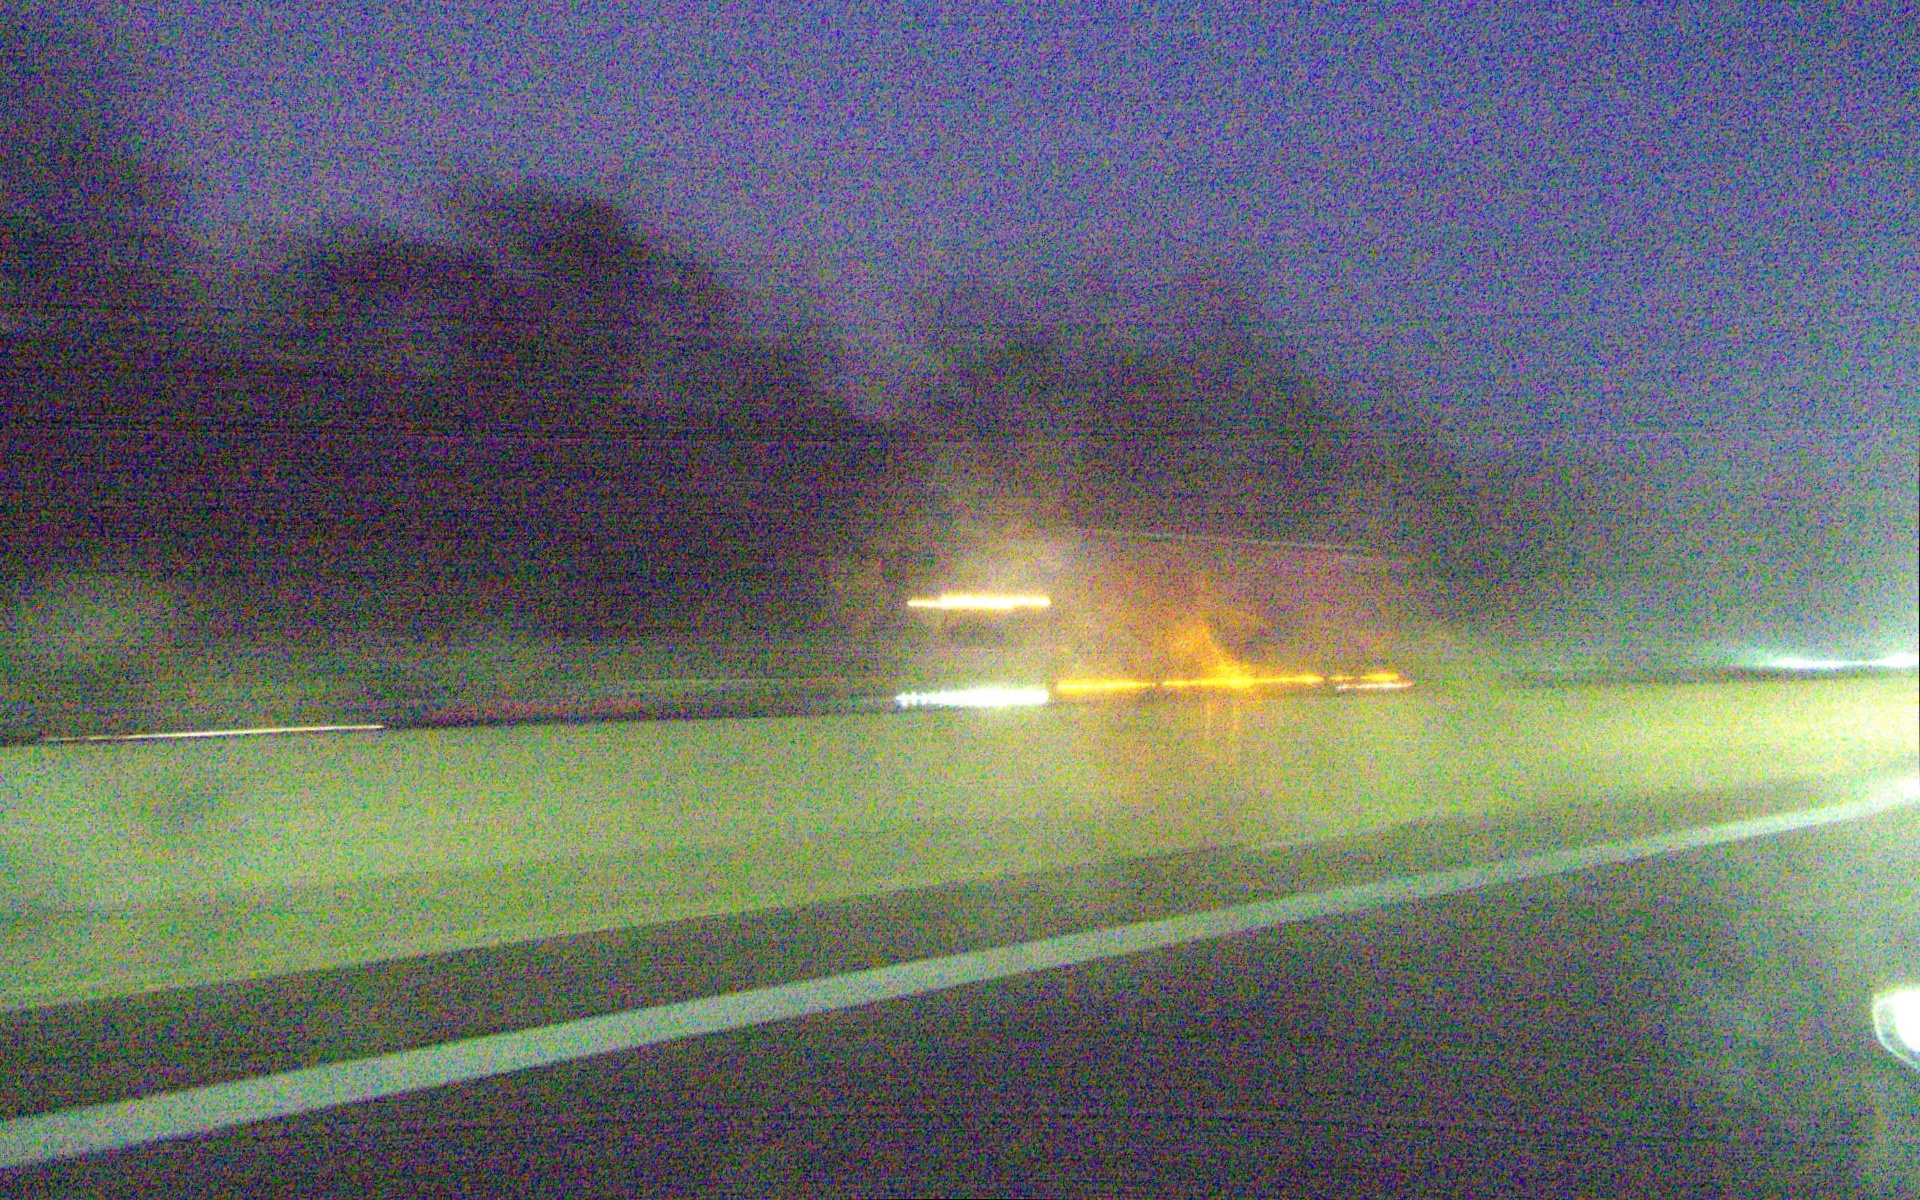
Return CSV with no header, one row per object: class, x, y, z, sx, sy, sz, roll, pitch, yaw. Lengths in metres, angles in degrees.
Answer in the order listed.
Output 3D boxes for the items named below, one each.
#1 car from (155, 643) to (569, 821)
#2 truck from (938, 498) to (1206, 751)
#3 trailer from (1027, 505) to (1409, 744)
car,-6.890,1.416,11.955,3.953,1.686,1.732,1,1,-30
truck,2.465,0.492,21.784,5.324,4.876,2.414,1,1,-30
trailer,6.472,0.566,24.134,10.050,4.888,2.393,1,1,-30
